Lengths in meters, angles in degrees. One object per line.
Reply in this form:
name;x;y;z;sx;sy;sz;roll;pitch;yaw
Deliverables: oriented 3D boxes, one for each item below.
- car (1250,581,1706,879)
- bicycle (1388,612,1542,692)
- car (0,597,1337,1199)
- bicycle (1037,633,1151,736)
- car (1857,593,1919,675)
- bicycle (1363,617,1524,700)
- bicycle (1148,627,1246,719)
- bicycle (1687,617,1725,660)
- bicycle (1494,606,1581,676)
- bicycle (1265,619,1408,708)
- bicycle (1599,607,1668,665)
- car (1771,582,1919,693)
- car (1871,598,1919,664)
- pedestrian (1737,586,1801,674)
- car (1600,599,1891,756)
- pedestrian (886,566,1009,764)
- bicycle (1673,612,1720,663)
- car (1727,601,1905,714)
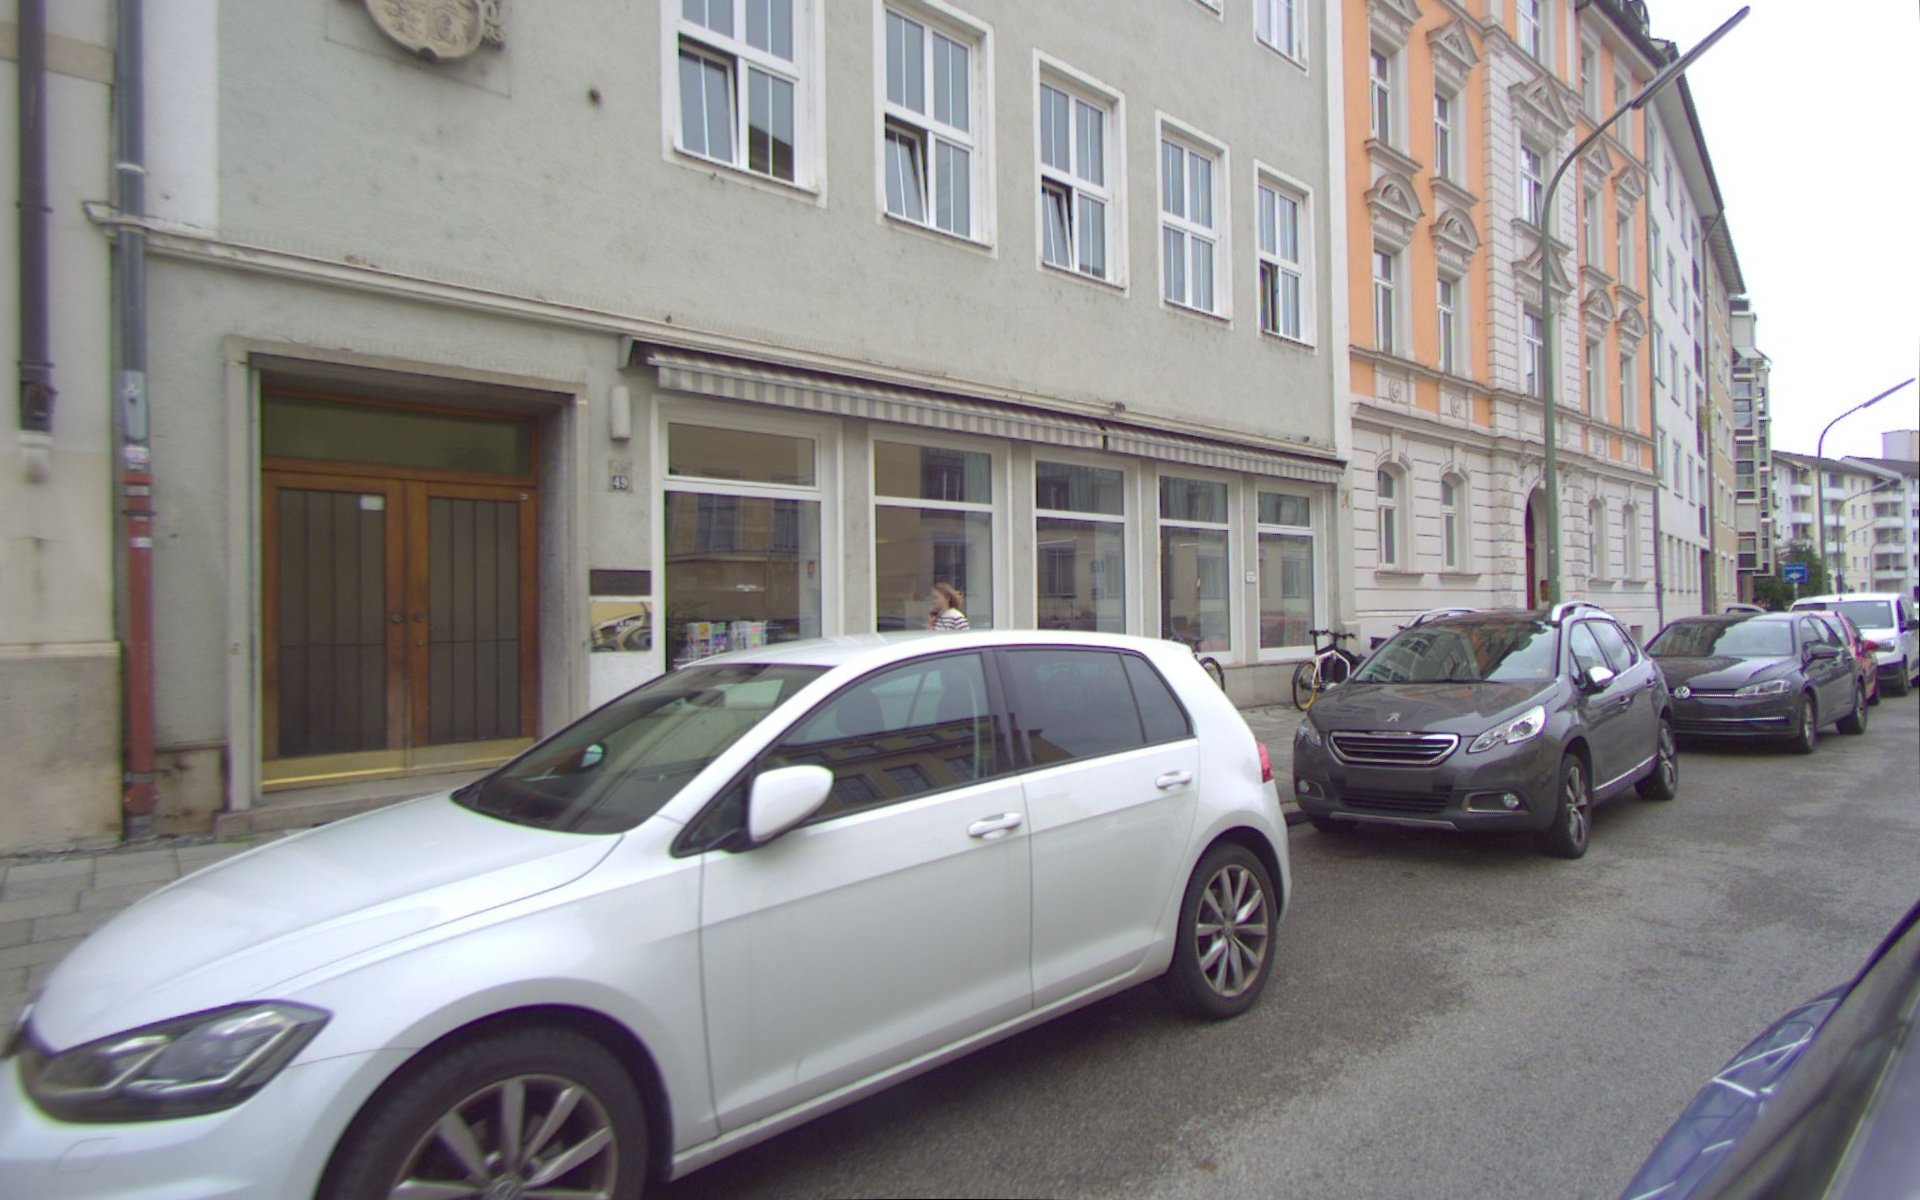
car;3.995;0.738;7.486;4.014;1.604;1.693;0;-3;-43
bicycle;7.812;0.794;15.699;2.057;1.198;0.609;0;0;3
car;-0.578;0.785;3.454;4.011;1.483;1.694;0;-3;-40
bicycle;1.481;0.890;11.069;1.495;1.017;0.331;0;0;-41
car;20.945;0.689;22.092;3.570;1.663;1.605;-1;-3;-43
bicycle;7.168;0.858;15.055;2.057;1.198;0.608;0;-1;4
bicycle;2.871;0.850;12.192;1.494;1.017;0.331;0;0;-40
bicycle;20.721;1.052;28.093;0.666;1.136;1.627;-2;-2;42
bicycle;10.513;0.744;18.395;2.057;1.198;0.652;2;-1;-39
bicycle;5.171;0.820;13.799;2.415;1.088;0.770;0;-1;-41
bicycle;14.769;0.790;22.170;2.057;1.198;0.652;2;-1;-39
car;16.814;0.655;18.766;4.809;1.809;1.843;0;-3;-41
car;24.668;0.752;25.743;4.129;1.608;1.742;0;-3;-42
pedestrian;15.980;0.583;20.003;0.636;1.683;0.862;1;-2;-41
car;9.035;0.775;11.531;4.010;1.470;1.695;0;-3;-39
pedestrian;-0.113;0.536;8.981;0.813;1.646;0.735;0;0;-40
bicycle;17.366;0.860;23.834;0.666;1.136;1.925;-2;-2;42
car;13.082;0.797;15.379;4.231;1.470;1.599;0;-3;-44
